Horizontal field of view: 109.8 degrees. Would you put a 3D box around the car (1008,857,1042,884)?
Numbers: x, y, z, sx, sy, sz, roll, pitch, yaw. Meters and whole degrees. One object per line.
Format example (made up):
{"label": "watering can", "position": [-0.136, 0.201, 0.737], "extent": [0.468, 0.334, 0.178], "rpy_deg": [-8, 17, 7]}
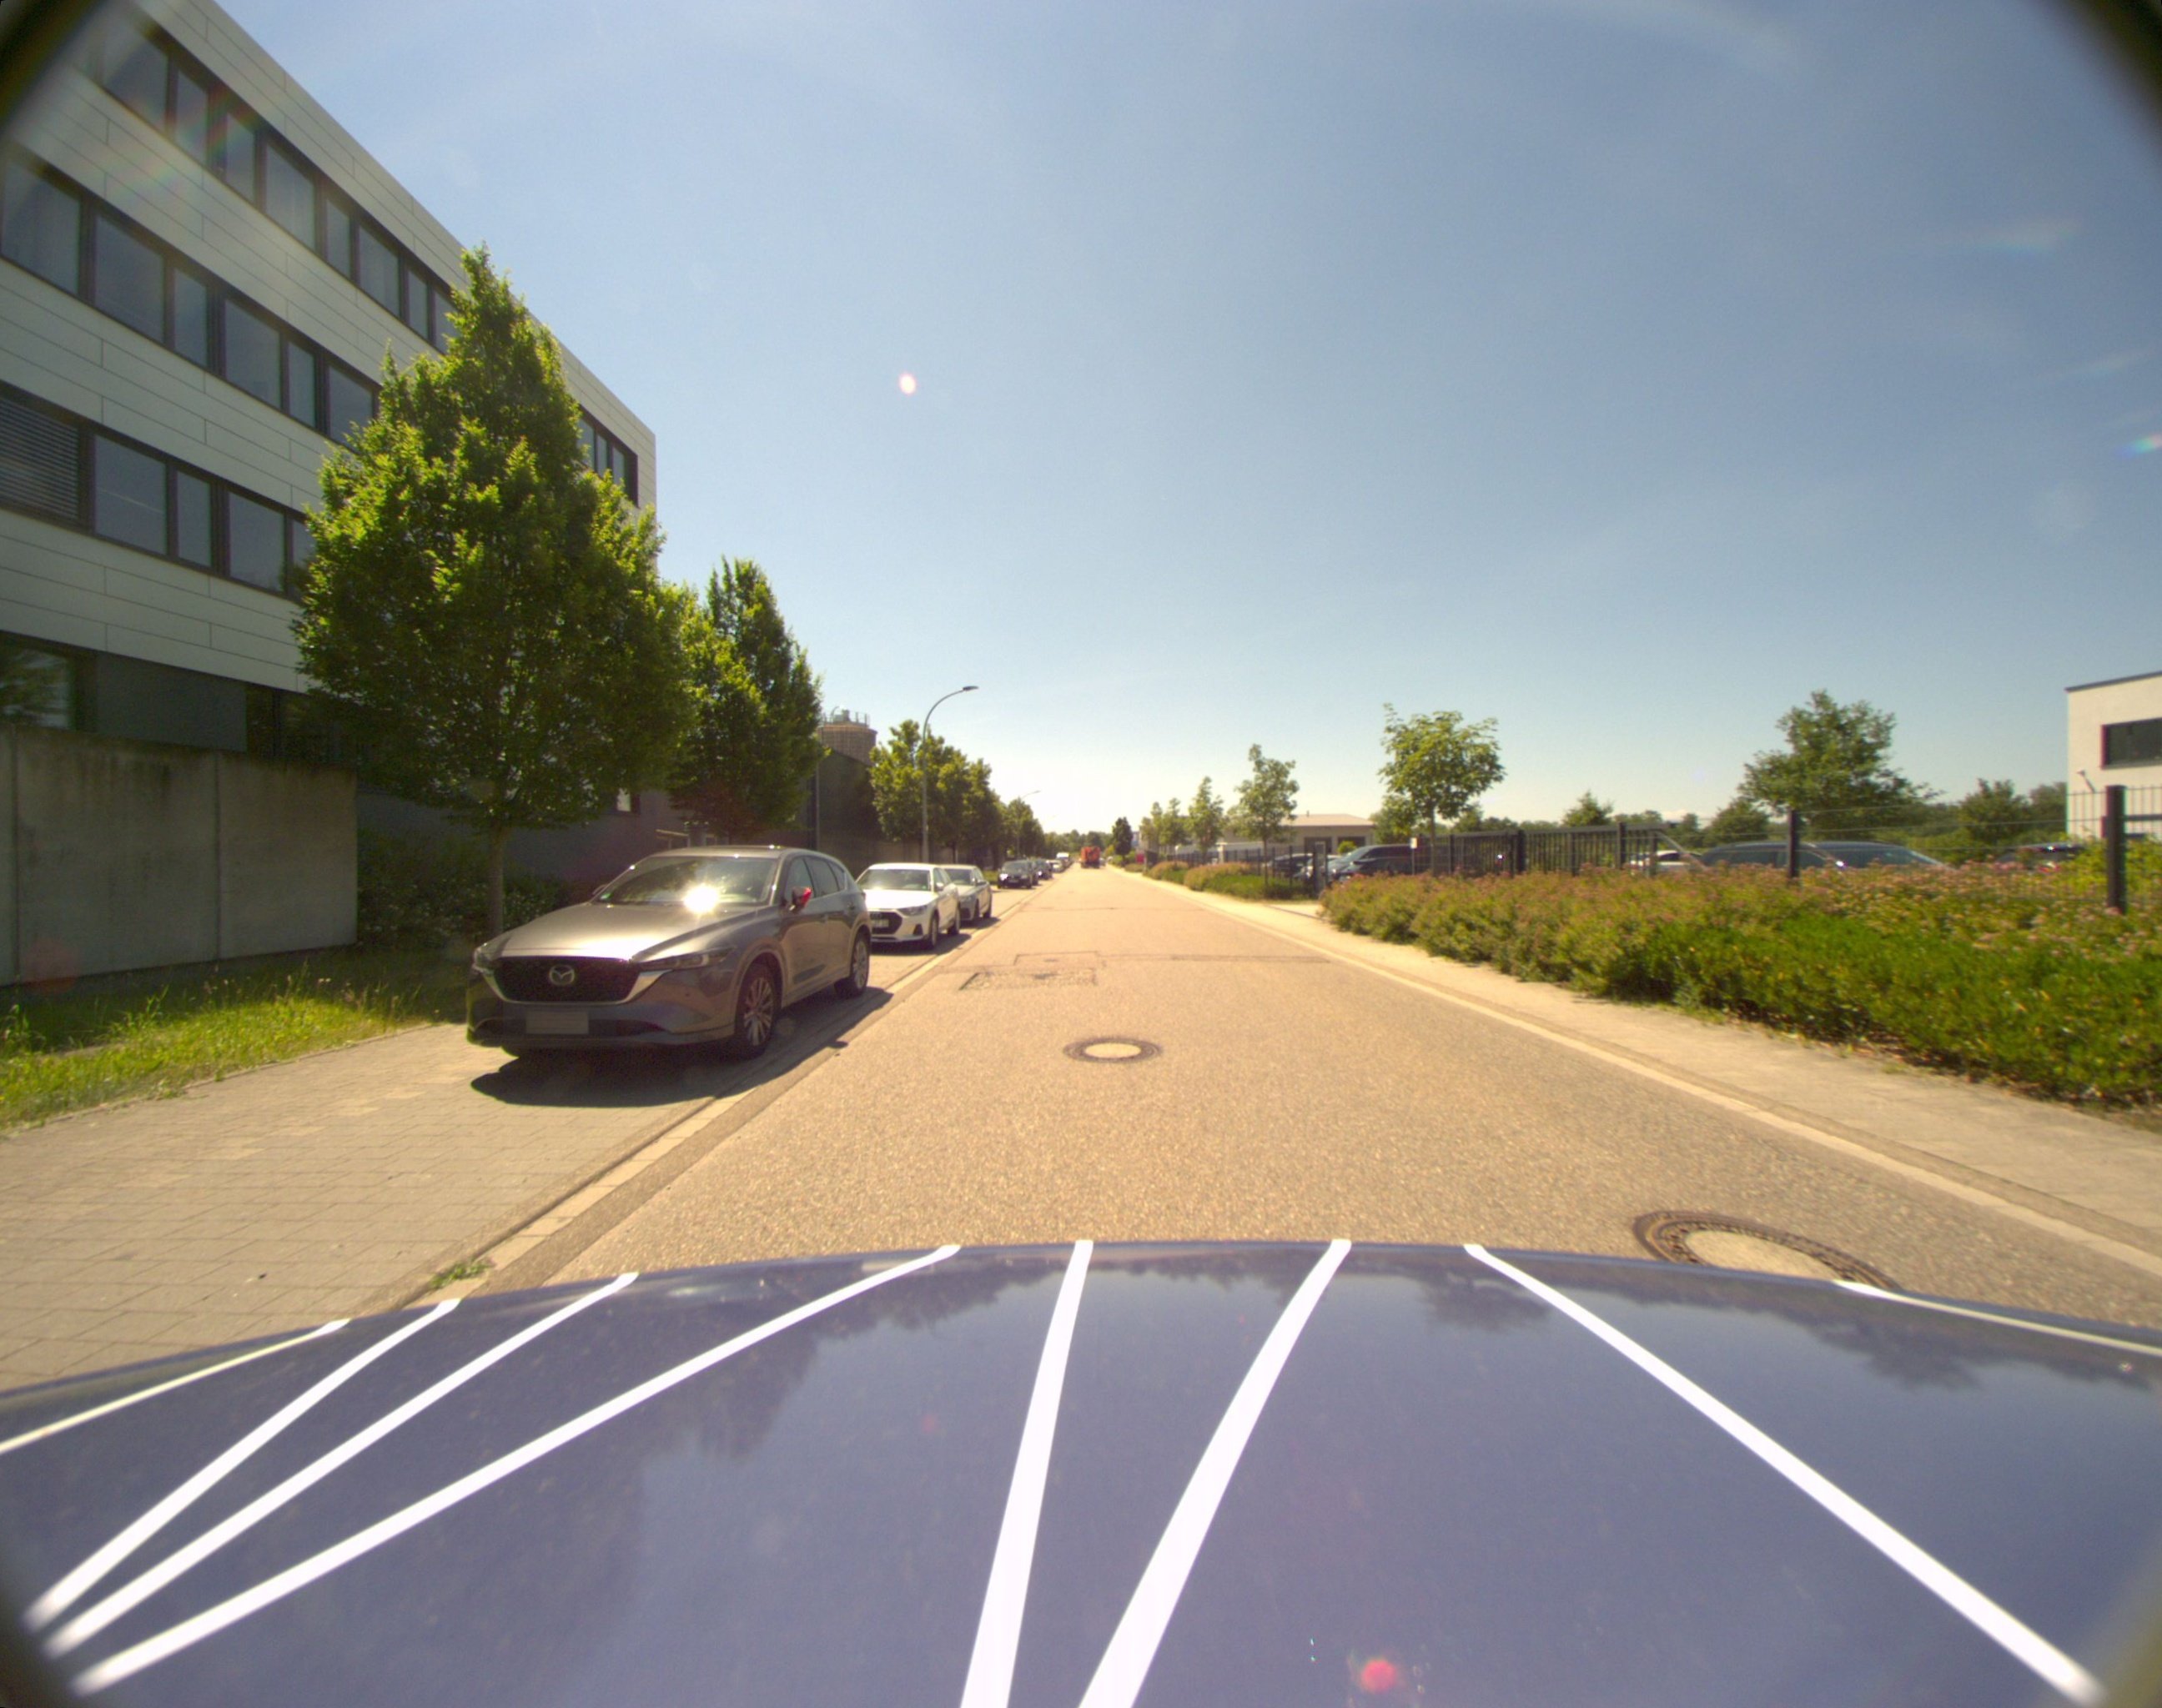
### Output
{"label": "car", "position": [-3.504, 1.006, 48.080], "extent": [1.812, 1.608, 4.714], "rpy_deg": [1, 0, 0]}

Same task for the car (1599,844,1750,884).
{"label": "car", "position": [21.957, 0.350, 28.216], "extent": [4.117, 1.343, 1.881], "rpy_deg": [-1, 0, 0]}

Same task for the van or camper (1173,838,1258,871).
{"label": "van or camper", "position": [11.327, 0.035, 64.524], "extent": [6.793, 2.668, 2.575], "rpy_deg": [-1, 0, 1]}

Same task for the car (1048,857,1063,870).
{"label": "car", "position": [-3.070, 1.188, 91.870], "extent": [1.736, 1.501, 3.665], "rpy_deg": [1, 0, -1]}

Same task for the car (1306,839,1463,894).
{"label": "car", "position": [11.339, 0.456, 28.636], "extent": [5.072, 1.840, 1.964], "rpy_deg": [-1, 0, 0]}

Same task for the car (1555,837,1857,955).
{"label": "car", "position": [10.510, 0.608, 13.277], "extent": [1.998, 1.713, 4.091], "rpy_deg": [-1, 0, 2]}

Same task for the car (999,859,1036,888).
{"label": "car", "position": [-3.418, 1.035, 41.535], "extent": [1.696, 1.467, 4.268], "rpy_deg": [1, 0, 0]}

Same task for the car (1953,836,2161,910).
{"label": "car", "position": [22.482, 0.371, 16.795], "extent": [4.100, 1.488, 2.000], "rpy_deg": [-1, 0, 0]}

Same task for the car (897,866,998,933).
{"label": "car", "position": [-3.193, 1.043, 18.889], "extent": [1.720, 1.415, 3.951], "rpy_deg": [2, 0, 1]}

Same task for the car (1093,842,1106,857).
{"label": "car", "position": [4.003, -0.885, 164.012], "extent": [2.600, 3.212, 6.222], "rpy_deg": [0, 0, 1]}

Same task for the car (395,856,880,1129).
{"label": "car", "position": [-3.307, 0.858, 6.853], "extent": [1.762, 1.653, 4.363], "rpy_deg": [1, 0, 1]}

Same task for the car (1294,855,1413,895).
{"label": "car", "position": [11.244, 0.861, 31.552], "extent": [4.204, 1.489, 1.904], "rpy_deg": [-1, 0, 0]}

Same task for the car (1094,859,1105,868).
{"label": "car", "position": [3.459, 1.762, 142.771], "extent": [1.998, 1.674, 4.000], "rpy_deg": [0, 0, 1]}

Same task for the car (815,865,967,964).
{"label": "car", "position": [-3.322, 0.991, 14.101], "extent": [1.720, 1.472, 4.031], "rpy_deg": [2, 0, 1]}

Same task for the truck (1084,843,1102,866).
{"label": "truck", "position": [1.919, 0.083, 125.034], "extent": [2.606, 3.524, 10.500], "rpy_deg": [0, 0, -1]}

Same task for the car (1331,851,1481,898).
{"label": "car", "position": [11.088, 0.683, 26.157], "extent": [4.316, 1.438, 1.964], "rpy_deg": [-1, 0, 0]}

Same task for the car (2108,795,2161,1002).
{"label": "car", "position": [11.767, 0.411, 5.627], "extent": [2.005, 2.086, 4.694], "rpy_deg": [-3, 0, 2]}

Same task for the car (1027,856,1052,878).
{"label": "car", "position": [-3.236, 0.989, 59.771], "extent": [1.742, 1.660, 4.368], "rpy_deg": [1, 0, 0]}

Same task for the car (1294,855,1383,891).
{"label": "car", "position": [11.605, 0.857, 34.382], "extent": [3.379, 1.489, 1.904], "rpy_deg": [-1, 0, 0]}

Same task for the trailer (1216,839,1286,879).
{"label": "trailer", "position": [10.776, 0.312, 48.323], "extent": [3.998, 2.346, 1.726], "rpy_deg": [-3, 1, -3]}

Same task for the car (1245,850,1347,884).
{"label": "car", "position": [11.147, 0.676, 39.608], "extent": [4.744, 1.619, 2.000], "rpy_deg": [-1, 0, 1]}

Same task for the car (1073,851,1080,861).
{"label": "car", "position": [-1.298, 0.539, 208.824], "extent": [2.060, 2.682, 4.834], "rpy_deg": [0, 0, -1]}

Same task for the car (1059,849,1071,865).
{"label": "car", "position": [-2.708, 0.541, 131.689], "extent": [2.060, 2.682, 4.834], "rpy_deg": [0, 0, -1]}

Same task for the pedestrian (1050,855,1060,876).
{"label": "pedestrian", "position": [-2.174, 0.955, 63.817], "extent": [0.704, 1.798, 0.721], "rpy_deg": [-1, 0, 1]}
